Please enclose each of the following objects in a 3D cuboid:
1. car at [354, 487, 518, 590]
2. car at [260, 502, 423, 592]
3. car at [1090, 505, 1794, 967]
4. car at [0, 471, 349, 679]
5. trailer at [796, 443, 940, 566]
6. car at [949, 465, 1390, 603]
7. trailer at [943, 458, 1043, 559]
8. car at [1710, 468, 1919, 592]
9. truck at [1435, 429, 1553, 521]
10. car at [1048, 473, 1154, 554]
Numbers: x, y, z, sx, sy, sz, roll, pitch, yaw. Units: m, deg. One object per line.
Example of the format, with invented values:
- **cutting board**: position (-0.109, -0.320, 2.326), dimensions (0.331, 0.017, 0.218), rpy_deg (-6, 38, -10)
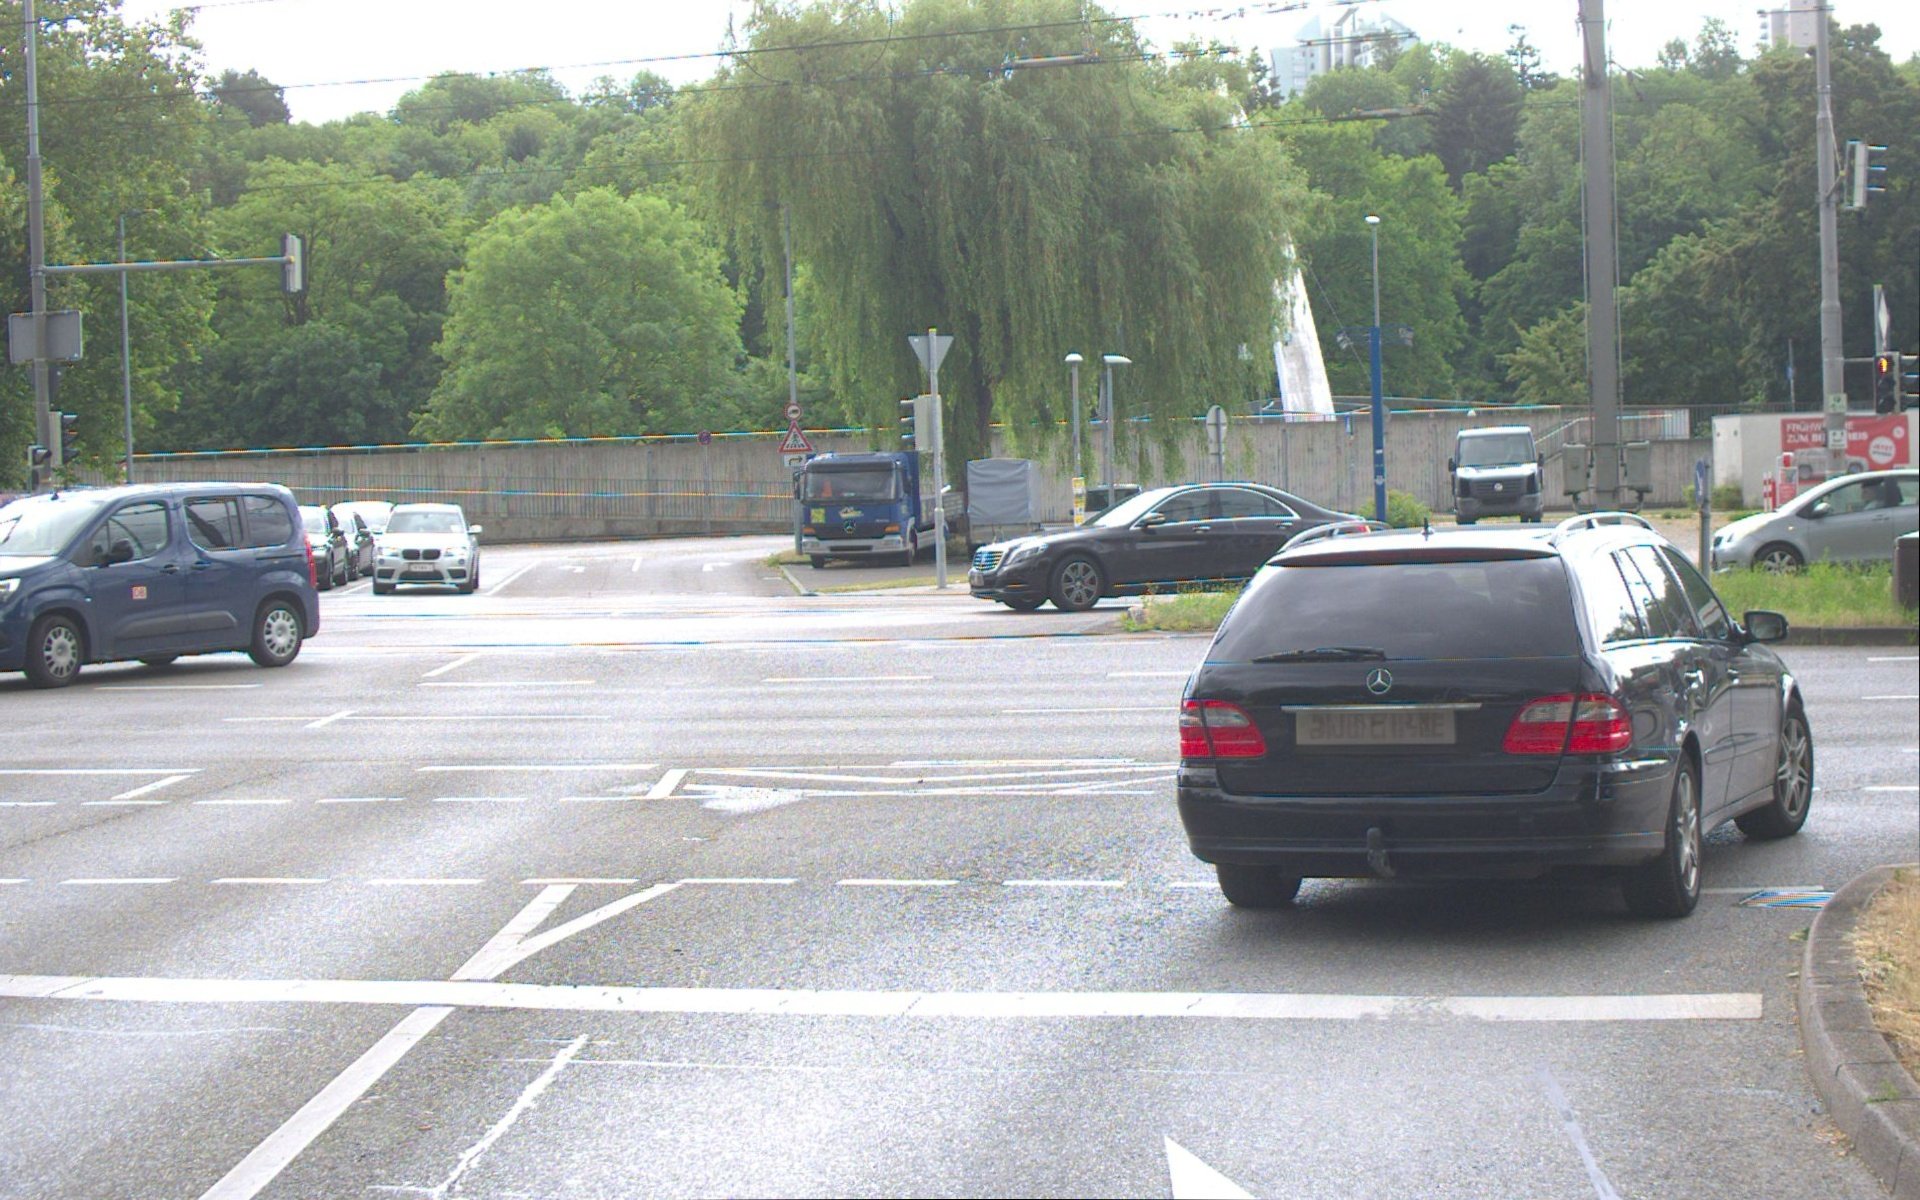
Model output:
- **car**: position (-9.932, -1.201, 65.441), dimensions (1.994, 1.853, 3.999), rpy_deg (-1, 2, 8)
- **car**: position (-12.248, -1.078, 68.287), dimensions (1.994, 1.634, 3.999), rpy_deg (-1, 2, 8)
- **car**: position (2.159, 0.410, 14.080), dimensions (1.824, 1.504, 4.570), rpy_deg (-1, 2, 21)
- **car**: position (-7.898, -0.267, 31.677), dimensions (1.605, 1.768, 4.549), rpy_deg (0, 2, 37)
- **trailer**: position (-2.008, -2.123, 76.749), dimensions (2.353, 2.573, 4.918), rpy_deg (-2, 1, 8)
- **car**: position (2.554, -0.825, 41.944), dimensions (5.049, 1.518, 1.744), rpy_deg (-2, 2, -18)
- **trailer**: position (0.781, -2.084, 78.782), dimensions (1.994, 2.176, 4.000), rpy_deg (-2, 1, 4)
- **car**: position (11.504, -0.909, 43.648), dimensions (3.771, 1.503, 1.704), rpy_deg (-1, 2, 9)
- **truck**: position (12.529, -2.910, 80.934), dimensions (2.235, 2.007, 5.240), rpy_deg (-2, 1, 4)
- **car**: position (3.223, -1.977, 77.915), dimensions (1.994, 1.744, 3.999), rpy_deg (-1, 2, 8)
